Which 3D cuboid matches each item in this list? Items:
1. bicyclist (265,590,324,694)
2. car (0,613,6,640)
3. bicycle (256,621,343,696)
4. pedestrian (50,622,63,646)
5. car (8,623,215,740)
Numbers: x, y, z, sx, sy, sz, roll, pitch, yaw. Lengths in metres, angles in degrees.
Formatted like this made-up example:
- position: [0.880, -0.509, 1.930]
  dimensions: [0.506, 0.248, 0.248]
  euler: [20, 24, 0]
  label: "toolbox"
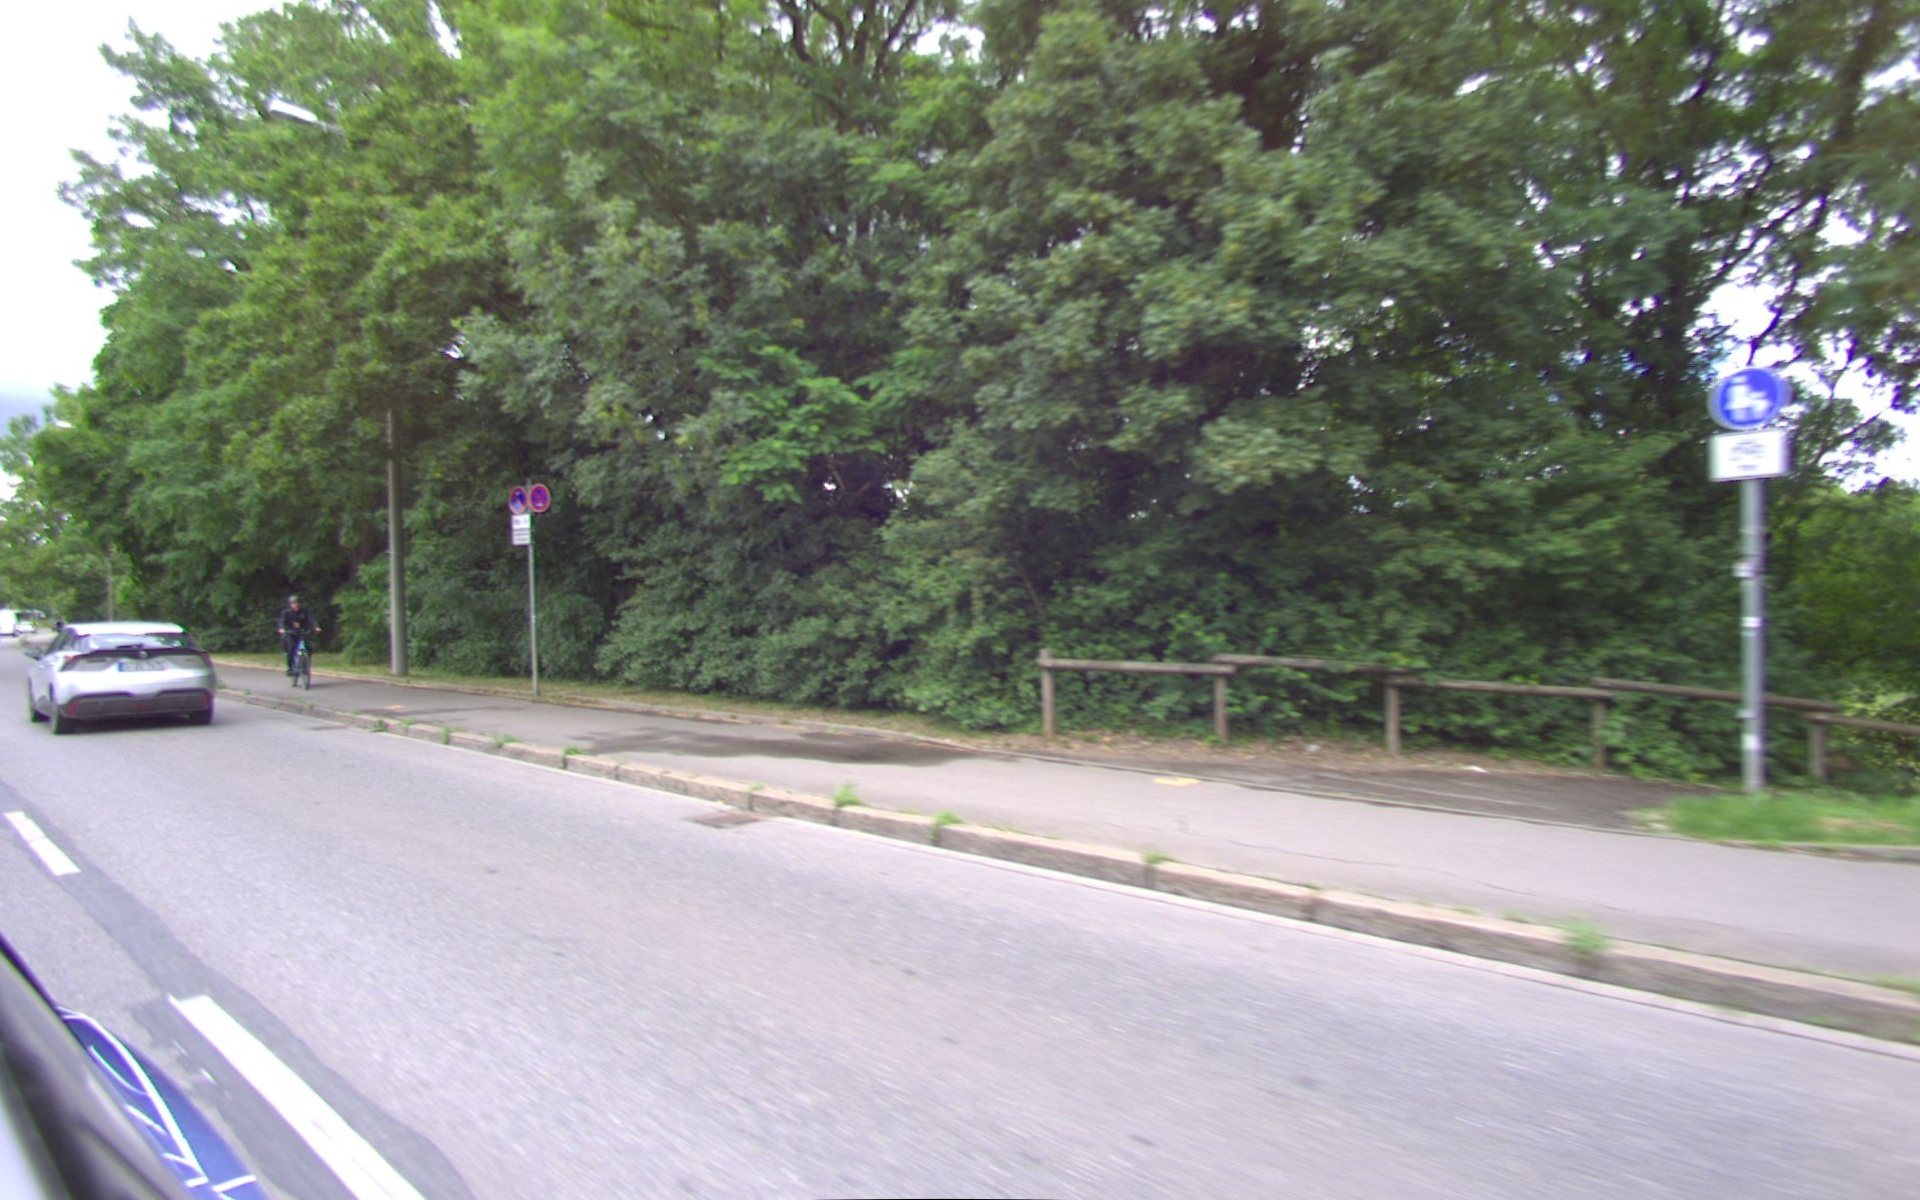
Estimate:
- position: [-13.064, 0.813, 19.869]
  dimensions: [0.835, 1.962, 0.680]
  euler: [-2, 1, 38]
  label: "bicyclist"
- position: [-96.474, 2.643, 100.697]
  dimensions: [5.897, 2.646, 1.971]
  euler: [-2, -2, 45]
  label: "car"
- position: [-12.932, 1.119, 19.781]
  dimensions: [2.277, 1.341, 0.692]
  euler: [-2, 1, 38]
  label: "bicycle"
- position: [-65.782, 2.457, 73.701]
  dimensions: [0.815, 1.727, 0.592]
  euler: [-2, 1, 44]
  label: "pedestrian"
- position: [-12.733, 1.127, 15.102]
  dimensions: [4.178, 1.503, 1.775]
  euler: [-2, -3, 42]
  label: "car"
